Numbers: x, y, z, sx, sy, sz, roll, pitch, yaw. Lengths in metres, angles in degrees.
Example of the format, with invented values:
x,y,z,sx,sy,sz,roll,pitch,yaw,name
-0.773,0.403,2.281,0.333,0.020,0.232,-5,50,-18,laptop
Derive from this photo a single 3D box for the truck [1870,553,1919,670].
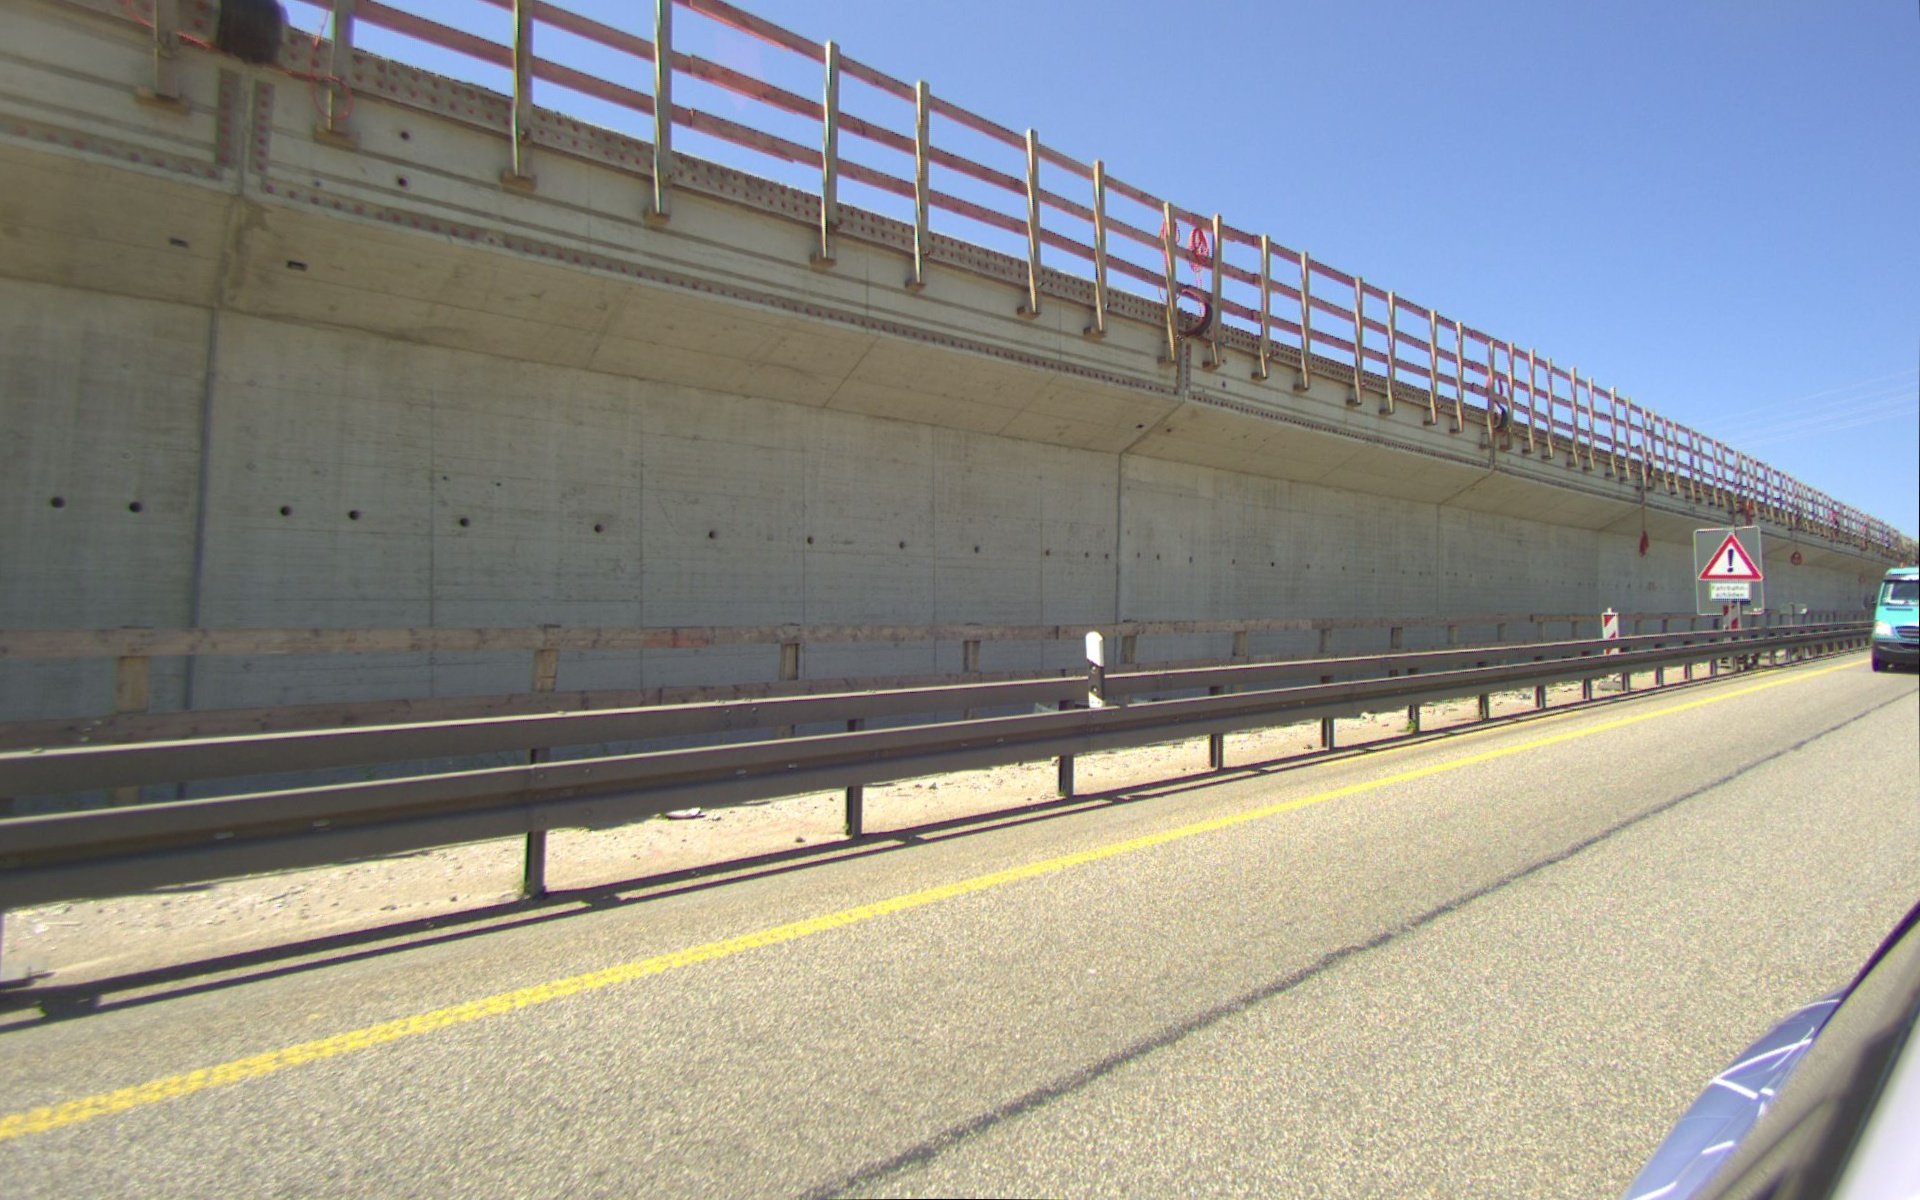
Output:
x,y,z,sx,sy,sz,roll,pitch,yaw,name
22.624,0.195,22.882,7.303,2.387,2.138,-1,0,-41,truck
